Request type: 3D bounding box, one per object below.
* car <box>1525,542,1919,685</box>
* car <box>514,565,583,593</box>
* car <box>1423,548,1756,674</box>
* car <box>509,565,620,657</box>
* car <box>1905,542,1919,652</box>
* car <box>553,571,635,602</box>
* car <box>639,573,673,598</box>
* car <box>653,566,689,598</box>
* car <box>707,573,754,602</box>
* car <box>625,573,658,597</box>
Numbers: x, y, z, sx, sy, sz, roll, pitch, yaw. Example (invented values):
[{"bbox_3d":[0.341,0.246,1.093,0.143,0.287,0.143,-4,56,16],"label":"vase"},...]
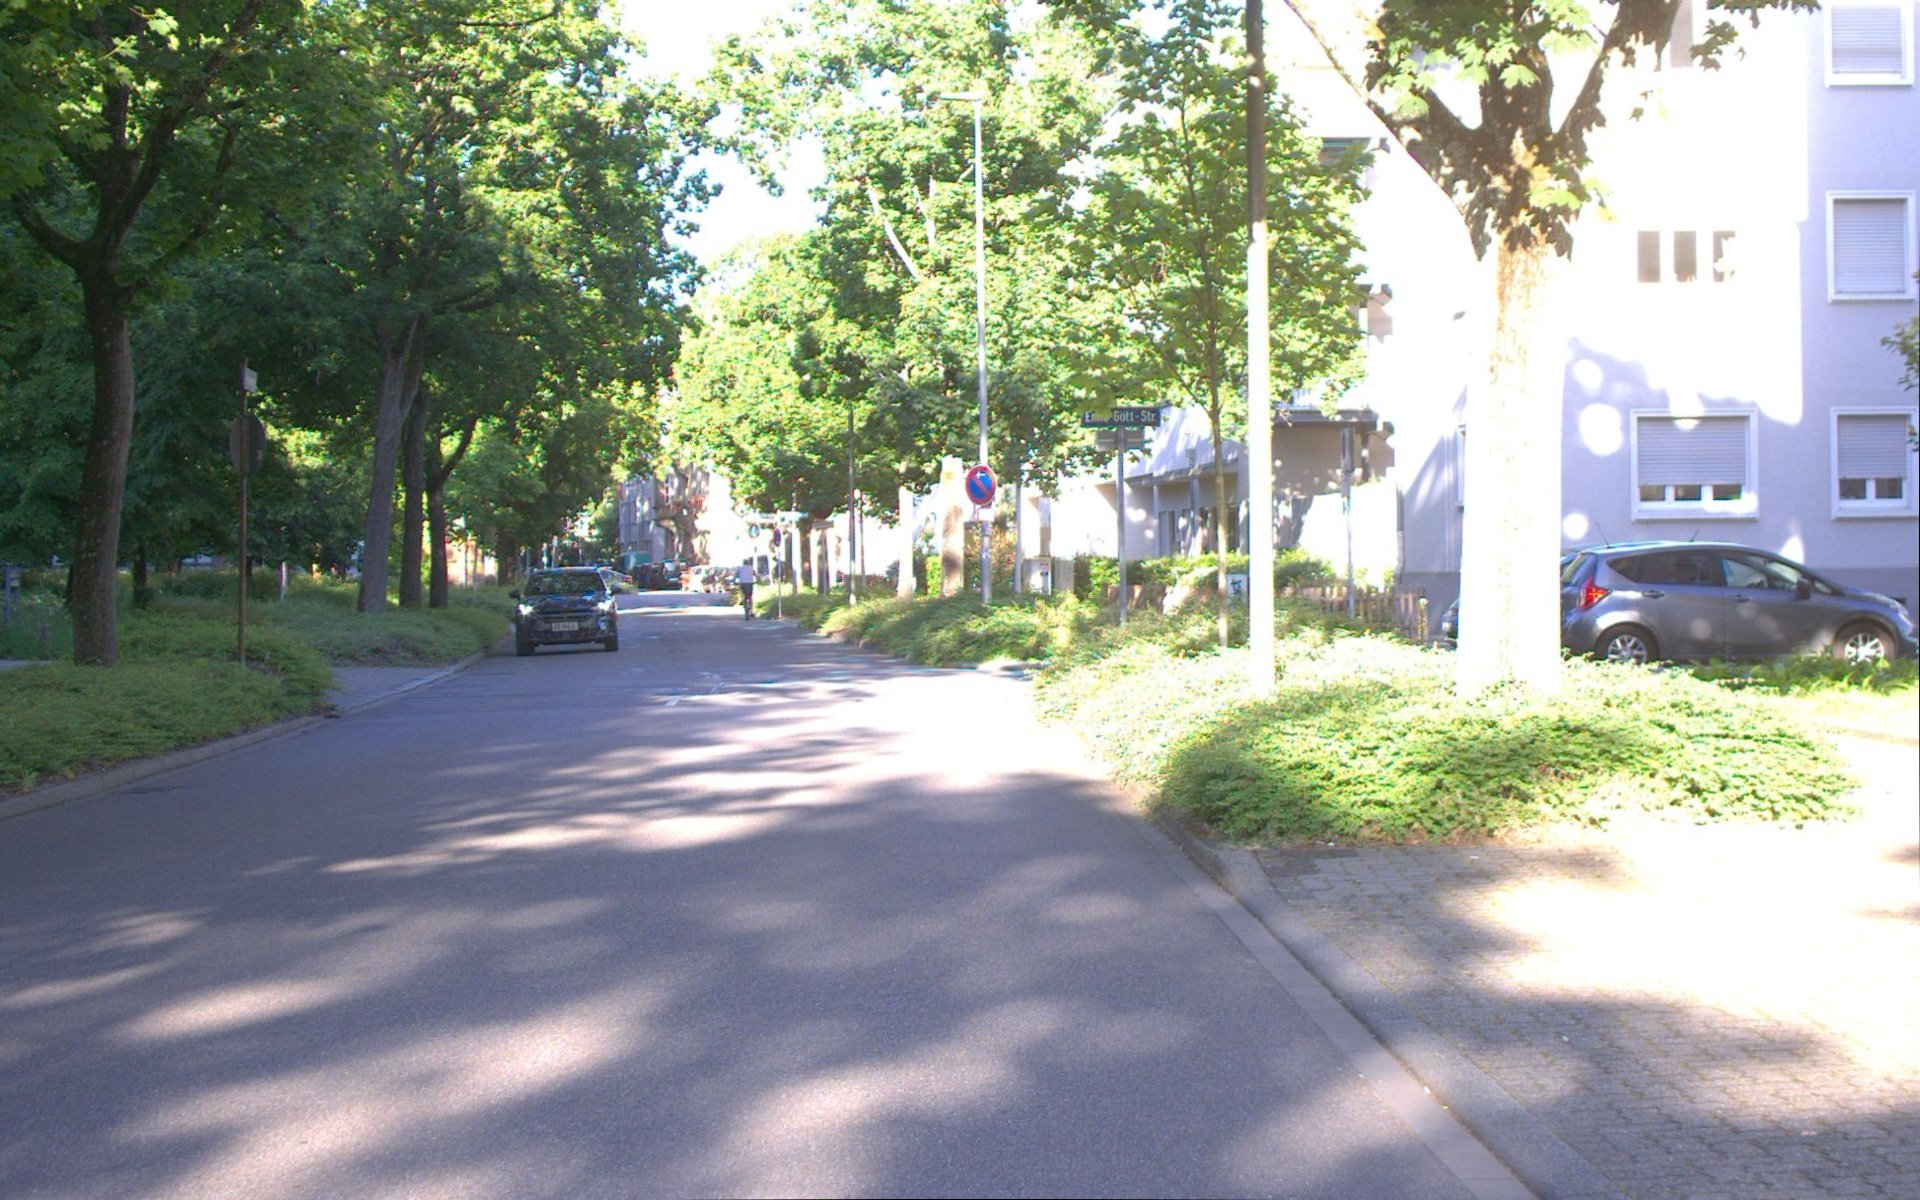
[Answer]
[{"bbox_3d":[8.406,0.165,37.749,4.040,1.509,1.727,0,-1,-4],"label":"car"},{"bbox_3d":[-22.478,-1.153,187.917,3.586,1.505,1.500,1,0,-13],"label":"car"},{"bbox_3d":[8.298,0.127,45.499,3.986,1.576,1.810,-1,1,-6],"label":"car"},{"bbox_3d":[-7.230,0.173,63.166,1.844,1.573,4.336,-2,1,-5],"label":"car"},{"bbox_3d":[14.897,-0.030,46.333,3.824,1.493,1.648,0,1,-3],"label":"car"},{"bbox_3d":[-18.727,-0.690,175.829,3.986,1.496,1.818,1,0,-13],"label":"car"},{"bbox_3d":[-19.022,-0.931,214.808,1.811,1.496,4.001,1,0,-9],"label":"car"},{"bbox_3d":[-17.392,-1.089,206.782,1.811,1.919,4.001,1,0,-9],"label":"car"},{"bbox_3d":[-11.918,-0.657,178.439,1.811,1.496,4.001,-1,1,-13],"label":"car"},{"bbox_3d":[-20.514,-0.962,221.237,1.811,1.496,4.001,1,0,-9],"label":"car"}]
